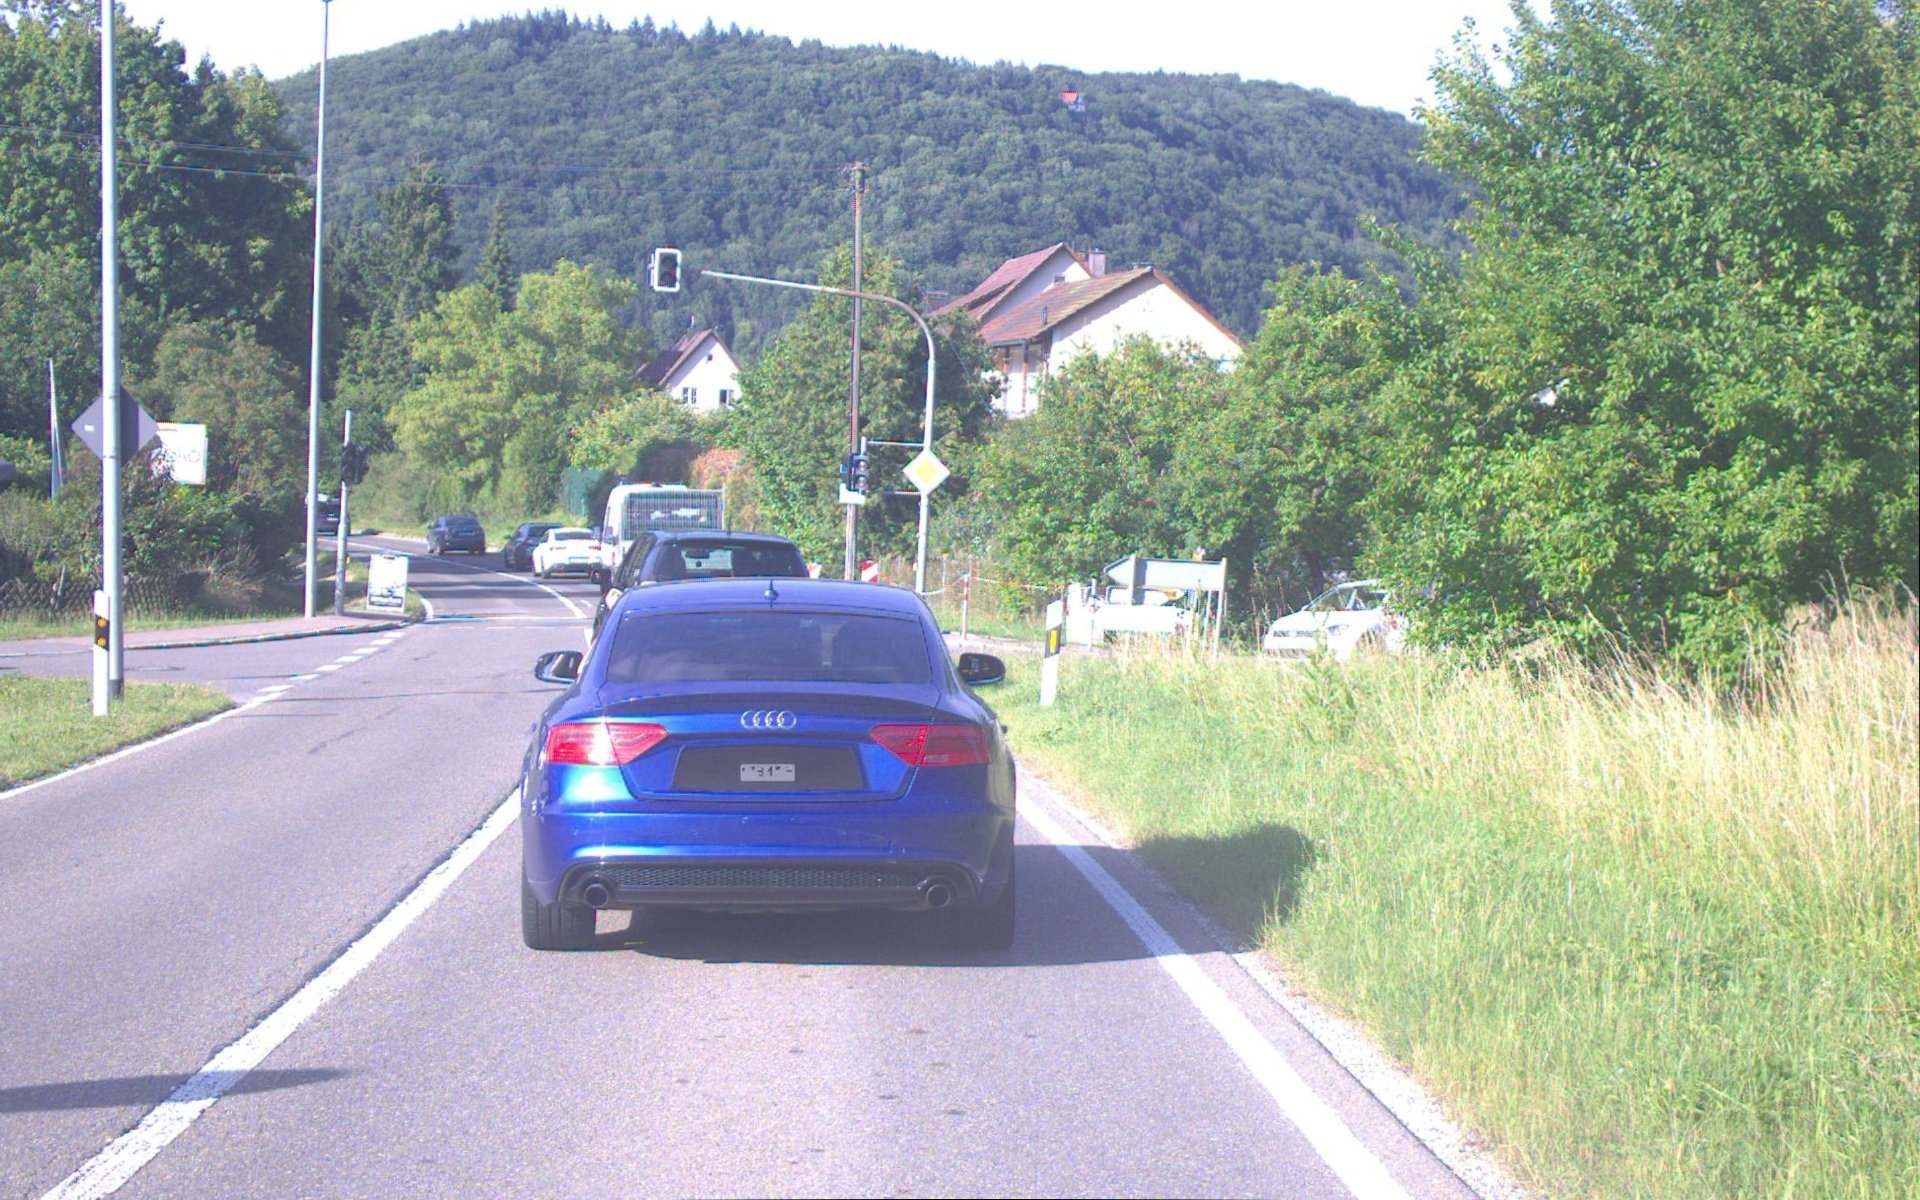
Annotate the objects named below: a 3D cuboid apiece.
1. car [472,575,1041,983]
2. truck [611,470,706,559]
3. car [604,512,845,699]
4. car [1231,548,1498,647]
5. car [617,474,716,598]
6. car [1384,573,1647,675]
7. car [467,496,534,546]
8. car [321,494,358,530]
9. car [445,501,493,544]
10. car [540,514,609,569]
[{"bbox_3d":[-0.651,0.599,13.725,1.795,1.383,3.999,0,0,4],"label":"car"},{"bbox_3d":[-7.109,-1.960,80.541,1.697,1.947,5.924,1,0,-10],"label":"truck"},{"bbox_3d":[-2.162,0.042,32.580,1.746,1.634,3.999,1,0,4],"label":"car"},{"bbox_3d":[6.385,-0.030,54.094,4.045,1.503,1.854,1,0,-39],"label":"car"},{"bbox_3d":[-5.450,-1.164,63.849,1.746,2.188,4.001,1,0,-5],"label":"car"},{"bbox_3d":[8.344,0.362,51.557,3.719,1.472,1.630,1,0,-32],"label":"car"},{"bbox_3d":[-14.305,-2.444,107.006,1.697,1.485,3.528,1,0,-13],"label":"car"},{"bbox_3d":[-28.854,-4.065,159.765,1.625,1.571,3.680,1,0,-11],"label":"car"},{"bbox_3d":[-18.170,-2.855,127.368,1.697,1.485,3.528,1,0,-8],"label":"car"},{"bbox_3d":[-10.920,-1.637,97.193,1.697,1.485,3.528,1,0,-10],"label":"car"}]
